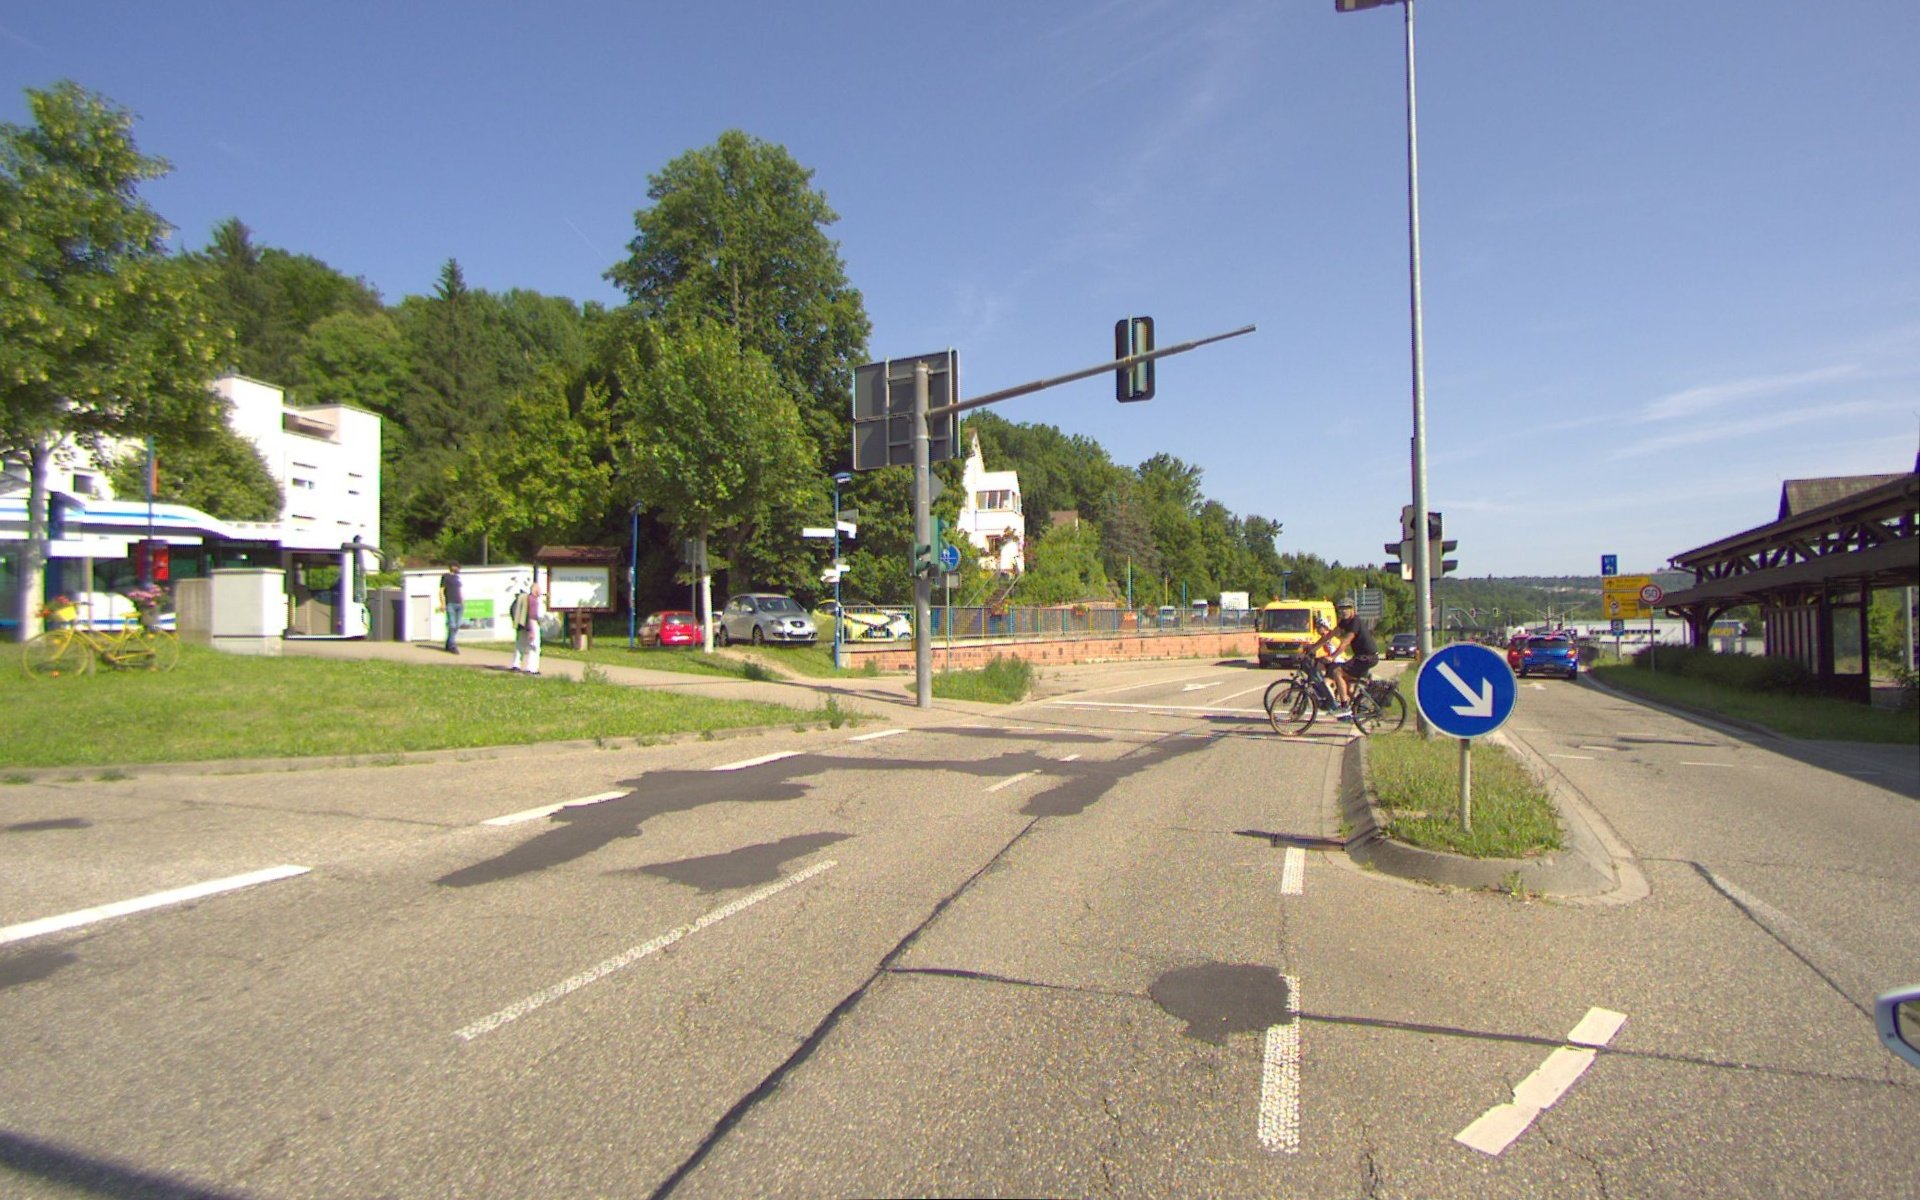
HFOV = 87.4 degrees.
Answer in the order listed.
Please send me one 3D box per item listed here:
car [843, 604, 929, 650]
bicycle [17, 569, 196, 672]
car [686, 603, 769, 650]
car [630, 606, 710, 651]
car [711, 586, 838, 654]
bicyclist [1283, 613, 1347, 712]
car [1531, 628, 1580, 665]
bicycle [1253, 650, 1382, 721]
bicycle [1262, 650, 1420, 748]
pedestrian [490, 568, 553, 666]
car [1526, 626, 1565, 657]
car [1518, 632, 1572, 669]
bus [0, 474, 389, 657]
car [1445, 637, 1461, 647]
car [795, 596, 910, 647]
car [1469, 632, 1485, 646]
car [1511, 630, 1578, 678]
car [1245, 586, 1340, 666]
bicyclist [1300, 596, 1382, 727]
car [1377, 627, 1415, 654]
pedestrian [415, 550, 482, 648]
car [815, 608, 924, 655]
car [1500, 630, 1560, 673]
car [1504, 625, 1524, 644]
[{"bbox_3d":[-3.385,1.202,45.353,1.899,1.900,3.952,1,0,-41],"label":"car"},{"bbox_3d":[-11.537,0.249,13.638,0.609,1.272,1.753,5,3,29],"label":"bicycle"},{"bbox_3d":[-9.565,1.053,41.118,1.896,1.723,3.958,1,1,-36],"label":"car"},{"bbox_3d":[-11.486,1.091,39.623,1.894,1.581,3.962,2,0,-33],"label":"car"},{"bbox_3d":[-5.435,0.544,28.960,2.036,1.718,4.374,3,0,-33],"label":"car"},{"bbox_3d":[5.836,1.010,16.561,0.938,1.585,0.807,-1,0,16],"label":"bicyclist"},{"bbox_3d":[29.531,2.274,49.872,1.964,1.709,4.489,2,-1,30],"label":"car"},{"bbox_3d":[5.866,1.385,16.553,1.934,1.079,0.735,-1,0,19],"label":"bicycle"},{"bbox_3d":[5.209,1.335,13.855,1.960,1.178,0.735,2,0,19],"label":"bicycle"},{"bbox_3d":[-7.893,0.300,18.099,0.699,1.700,0.740,2,0,24],"label":"pedestrian"},{"bbox_3d":[36.199,2.564,62.144,1.964,1.759,3.993,2,-1,30],"label":"car"},{"bbox_3d":[26.077,2.210,44.845,1.964,1.551,4.593,-1,-2,30],"label":"car"},{"bbox_3d":[-19.733,-0.704,22.379,12.074,3.763,2.847,2,0,-30],"label":"bus"},{"bbox_3d":[74.428,6.371,151.707,1.766,1.490,4.706,0,-2,31],"label":"car"},{"bbox_3d":[-3.339,0.616,30.621,1.894,1.400,3.963,2,0,-33],"label":"car"},{"bbox_3d":[78.005,5.895,151.520,1.964,2.040,3.994,0,-2,28],"label":"car"},{"bbox_3d":[20.550,1.854,35.431,1.840,1.568,3.995,0,-2,28],"label":"car"},{"bbox_3d":[13.924,1.089,41.780,2.431,3.050,6.454,1,-1,30],"label":"car"},{"bbox_3d":[5.224,0.820,13.844,0.973,1.713,0.807,2,0,19],"label":"bicyclist"},{"bbox_3d":[24.583,2.274,56.579,1.719,1.482,4.038,-1,-2,27],"label":"car"},{"bbox_3d":[-10.538,-0.009,20.702,0.727,1.933,0.857,4,0,23],"label":"pedestrian"},{"bbox_3d":[-3.636,1.291,40.438,3.958,1.813,1.904,2,-2,-34],"label":"car"},{"bbox_3d":[23.002,2.043,40.548,1.964,1.592,3.993,1,-2,30],"label":"car"},{"bbox_3d":[66.171,4.159,119.999,1.964,2.172,4.713,1,-1,28],"label":"car"}]
